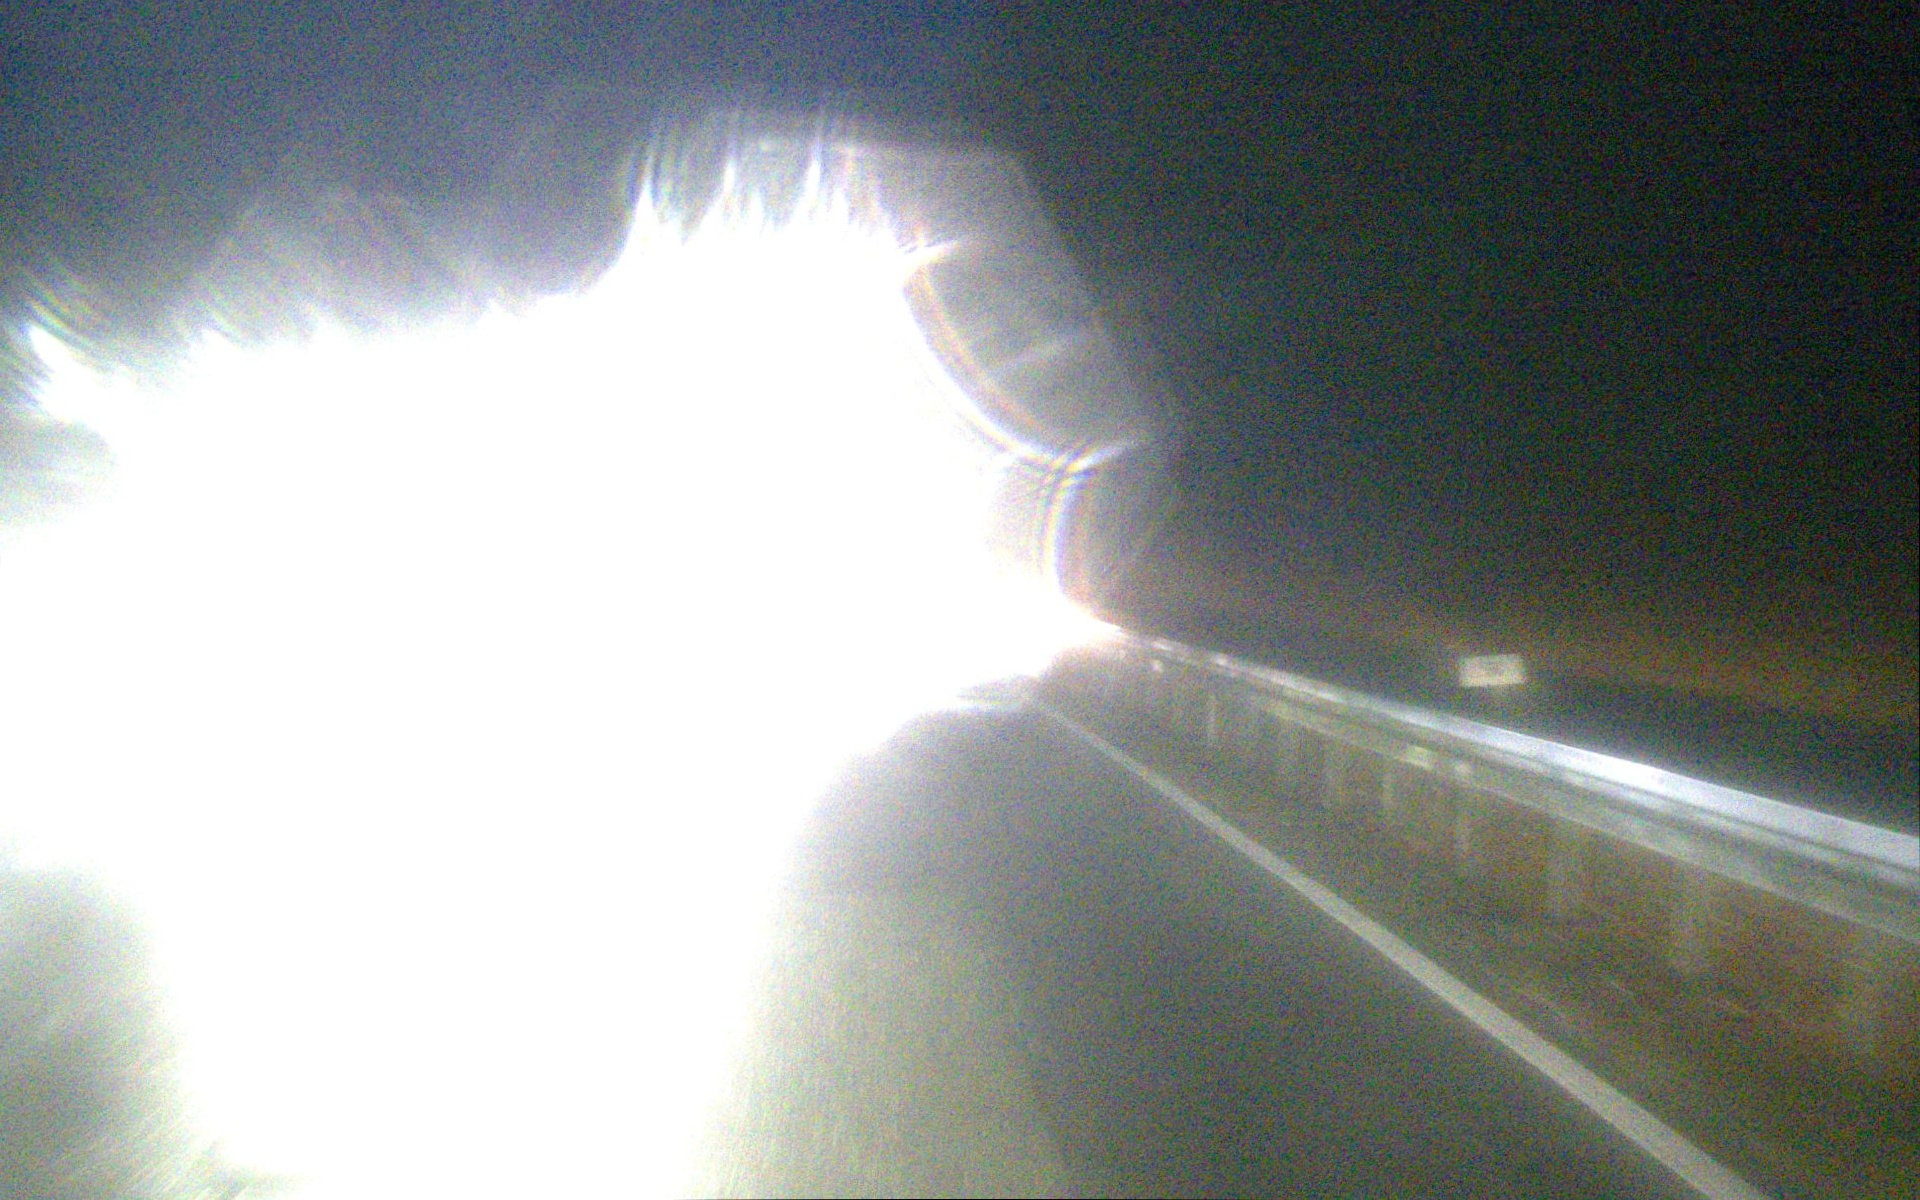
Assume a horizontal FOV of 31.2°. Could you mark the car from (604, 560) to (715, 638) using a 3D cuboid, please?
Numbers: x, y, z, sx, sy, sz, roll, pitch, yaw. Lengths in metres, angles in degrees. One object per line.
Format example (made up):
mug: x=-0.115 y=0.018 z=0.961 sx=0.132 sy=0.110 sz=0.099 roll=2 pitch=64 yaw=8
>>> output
car: x=-5.429 y=-0.023 z=62.572 sx=1.805 sy=1.334 sz=4.189 roll=1 pitch=0 yaw=-2

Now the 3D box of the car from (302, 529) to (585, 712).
car: x=-4.443 y=0.133 z=30.120 sx=1.993 sy=1.467 sz=3.837 roll=1 pitch=1 yaw=-2
